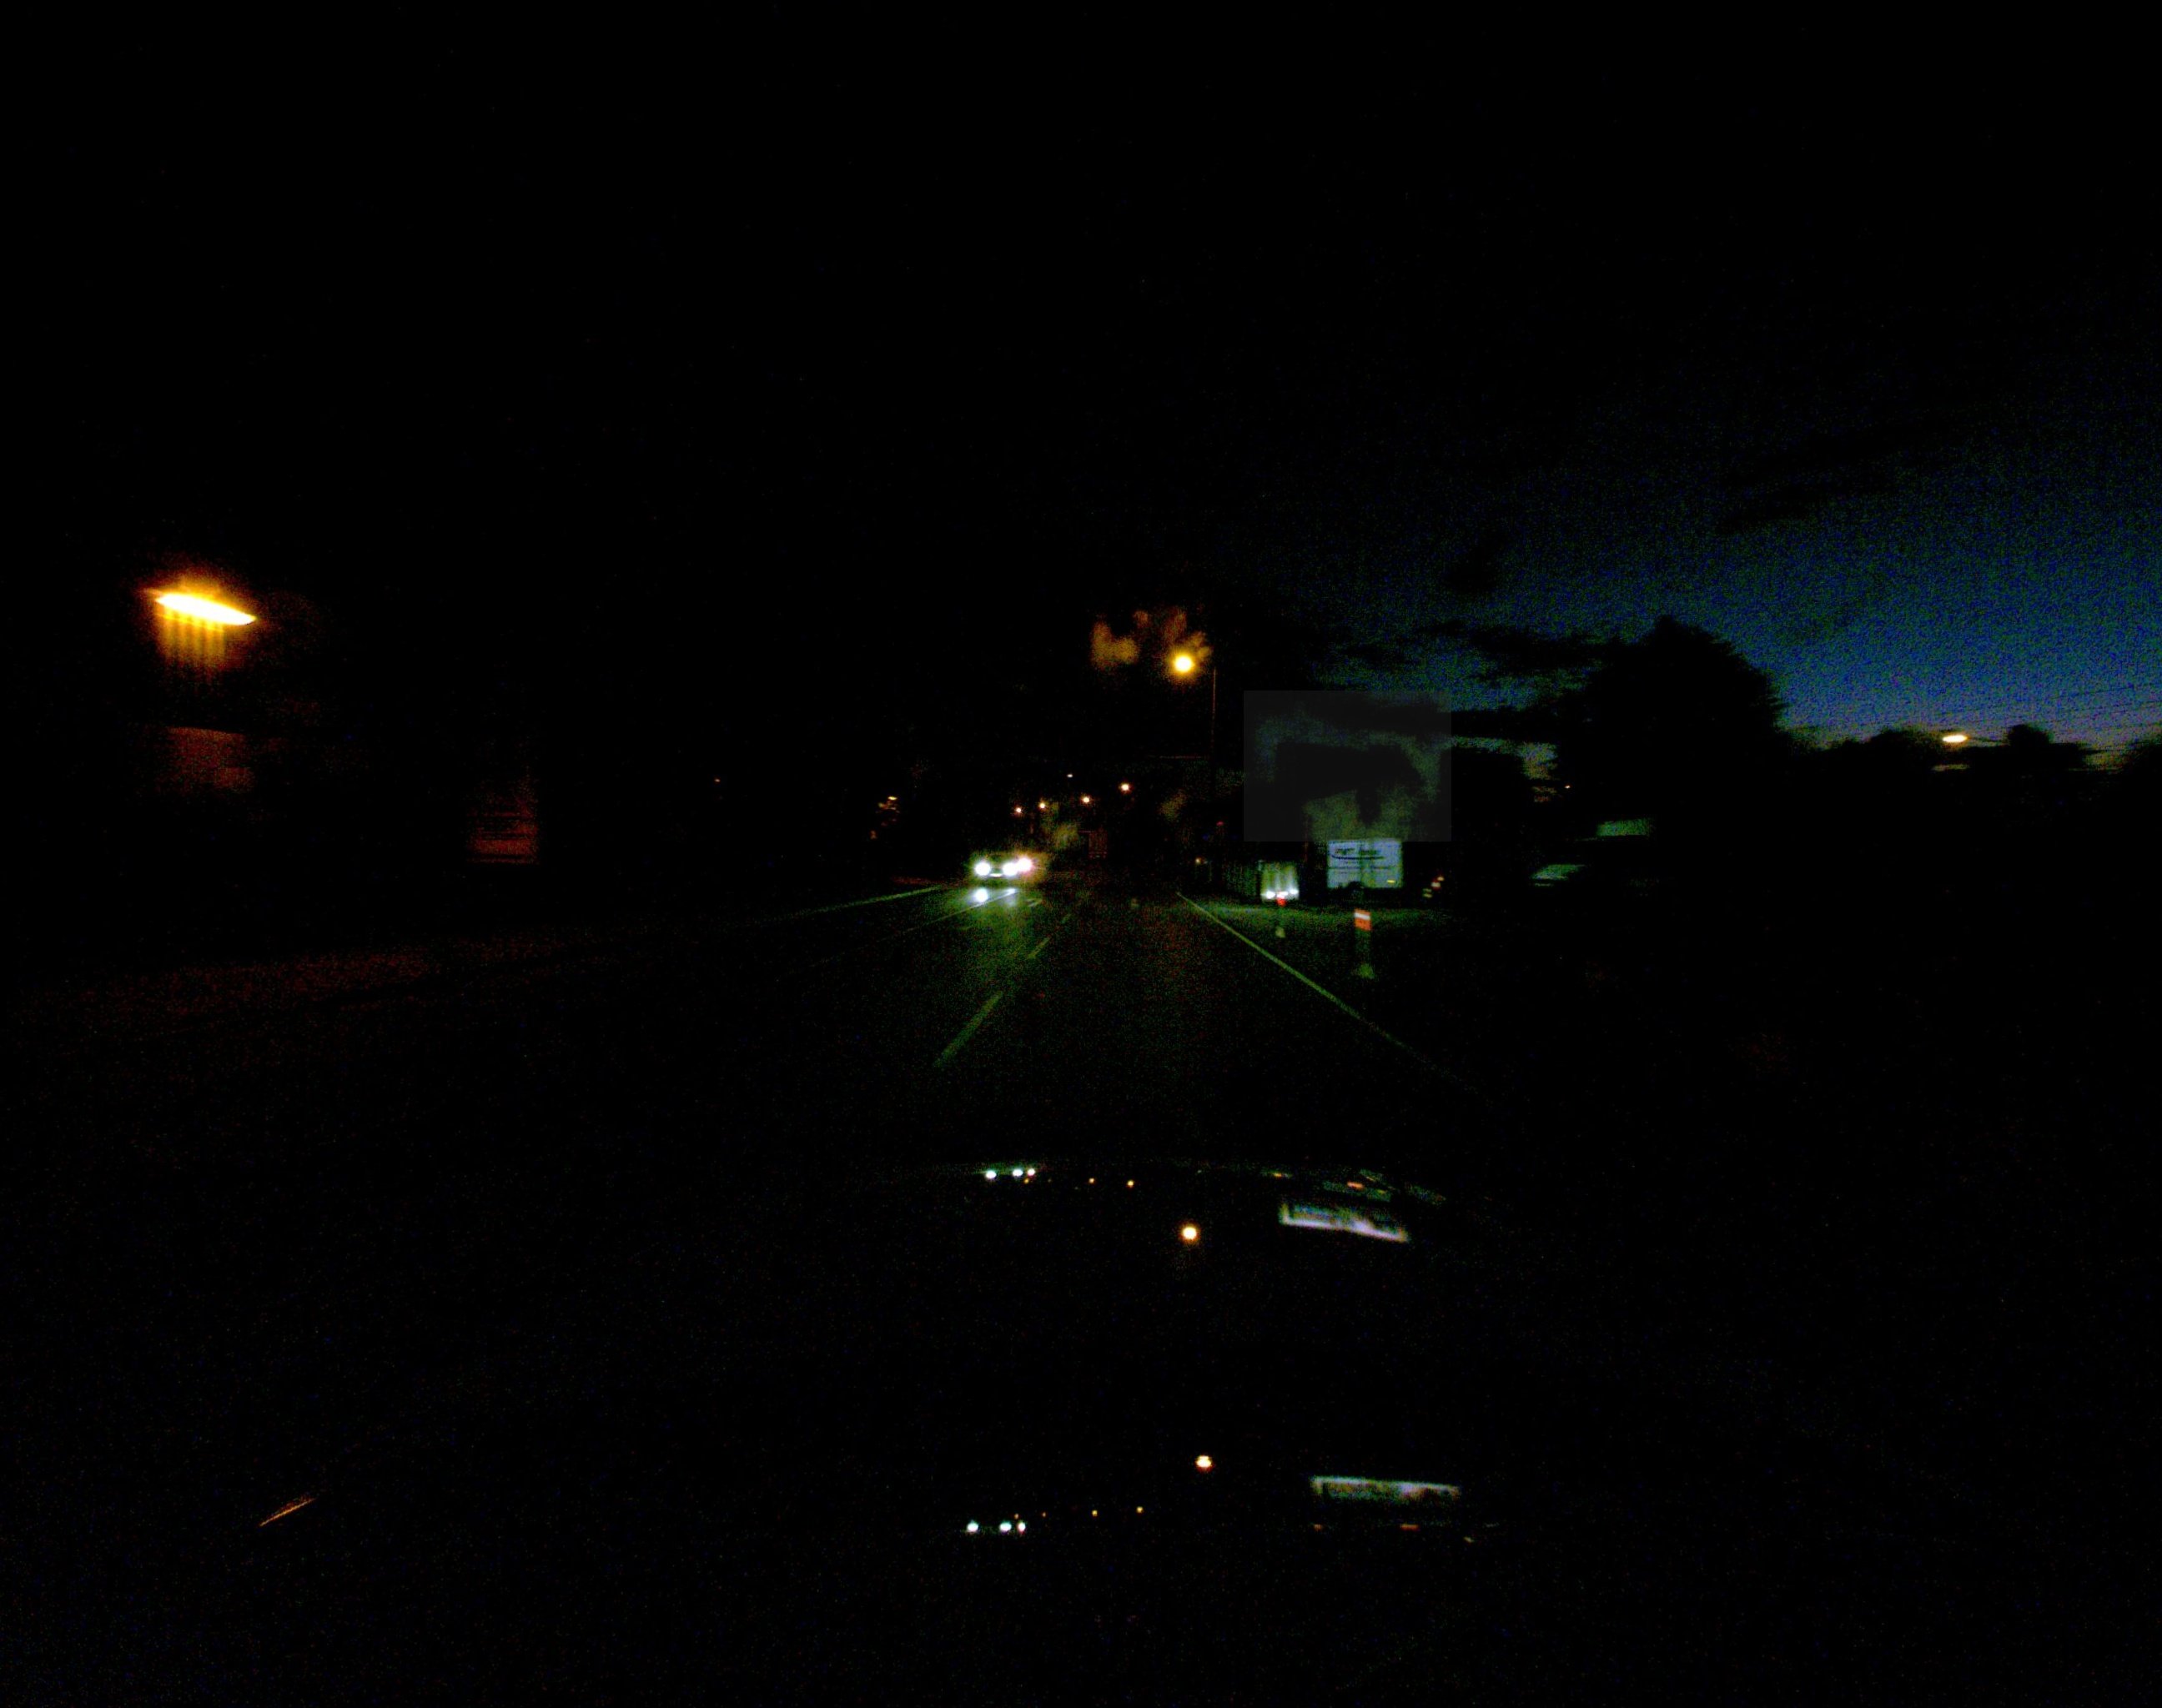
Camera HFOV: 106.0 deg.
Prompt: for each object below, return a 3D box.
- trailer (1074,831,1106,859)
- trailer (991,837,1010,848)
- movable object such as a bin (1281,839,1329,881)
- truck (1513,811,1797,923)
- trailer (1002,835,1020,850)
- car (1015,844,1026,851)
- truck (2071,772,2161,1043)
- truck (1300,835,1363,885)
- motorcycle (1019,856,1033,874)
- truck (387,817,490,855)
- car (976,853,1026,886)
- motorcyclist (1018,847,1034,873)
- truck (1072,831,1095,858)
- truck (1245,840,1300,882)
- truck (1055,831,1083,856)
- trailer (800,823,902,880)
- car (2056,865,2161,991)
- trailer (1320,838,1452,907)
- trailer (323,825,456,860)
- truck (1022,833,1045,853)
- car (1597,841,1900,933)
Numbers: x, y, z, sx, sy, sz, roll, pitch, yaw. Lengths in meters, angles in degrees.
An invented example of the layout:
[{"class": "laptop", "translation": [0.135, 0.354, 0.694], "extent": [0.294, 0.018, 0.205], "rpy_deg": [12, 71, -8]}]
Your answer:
[{"class": "trailer", "translation": [1.252, -1.407, 121.743], "extent": [2.807, 3.983, 13.938], "rpy_deg": [-1, 1, -8]}, {"class": "trailer", "translation": [-21.241, -3.079, 214.420], "extent": [3.189, 2.748, 10.664], "rpy_deg": [-1, 1, -14]}, {"class": "movable object such as a bin", "translation": [15.393, 0.387, 56.211], "extent": [2.220, 2.724, 3.865], "rpy_deg": [2, 0, 0]}, {"class": "truck", "translation": [14.487, 0.299, 20.862], "extent": [5.511, 2.599, 2.473], "rpy_deg": [1, 0, 1]}, {"class": "trailer", "translation": [-17.100, -2.785, 198.713], "extent": [2.693, 3.464, 7.765], "rpy_deg": [1, 1, -17]}, {"class": "car", "translation": [-13.818, -1.493, 186.155], "extent": [1.855, 1.519, 3.800], "rpy_deg": [-1, 1, -14]}, {"class": "truck", "translation": [10.232, 0.483, 3.618], "extent": [2.369, 2.283, 7.745], "rpy_deg": [1, 0, 1]}, {"class": "truck", "translation": [14.943, 0.321, 49.088], "extent": [2.172, 2.748, 7.327], "rpy_deg": [2, 0, 6]}, {"class": "motorcycle", "translation": [-4.051, 0.808, 60.073], "extent": [0.995, 1.305, 2.823], "rpy_deg": [1, 0, -4]}, {"class": "truck", "translation": [-43.887, -1.210, 55.763], "extent": [5.035, 2.389, 2.152], "rpy_deg": [2, 0, -15]}, {"class": "car", "translation": [-4.081, 0.756, 42.357], "extent": [1.986, 1.627, 4.754], "rpy_deg": [1, 0, 1]}, {"class": "motorcyclist", "translation": [-4.046, 0.411, 59.979], "extent": [1.132, 1.900, 0.832], "rpy_deg": [1, 0, -5]}, {"class": "truck", "translation": [0.357, -1.509, 128.165], "extent": [2.829, 3.983, 6.033], "rpy_deg": [-1, 1, -8]}, {"class": "truck", "translation": [11.898, 0.372, 51.195], "extent": [2.173, 2.422, 7.324], "rpy_deg": [2, 0, 4]}, {"class": "truck", "translation": [-2.107, -1.837, 138.659], "extent": [2.832, 3.983, 10.302], "rpy_deg": [-1, 1, -11]}, {"class": "trailer", "translation": [-11.191, -0.135, 39.817], "extent": [4.333, 2.720, 2.001], "rpy_deg": [0, 1, 1]}, {"class": "car", "translation": [15.065, 0.936, 10.144], "extent": [3.843, 1.515, 1.708], "rpy_deg": [1, 0, -1]}, {"class": "trailer", "translation": [9.500, 0.519, 25.362], "extent": [3.712, 2.013, 1.624], "rpy_deg": [0, 1, 26]}, {"class": "trailer", "translation": [-37.087, -0.618, 43.769], "extent": [5.218, 1.622, 1.876], "rpy_deg": [2, 0, -7]}, {"class": "truck", "translation": [-10.063, -2.343, 171.392], "extent": [3.521, 3.983, 10.306], "rpy_deg": [-1, 1, -10]}, {"class": "car", "translation": [14.753, 0.688, 18.266], "extent": [5.050, 1.836, 1.991], "rpy_deg": [1, 0, 4]}]
